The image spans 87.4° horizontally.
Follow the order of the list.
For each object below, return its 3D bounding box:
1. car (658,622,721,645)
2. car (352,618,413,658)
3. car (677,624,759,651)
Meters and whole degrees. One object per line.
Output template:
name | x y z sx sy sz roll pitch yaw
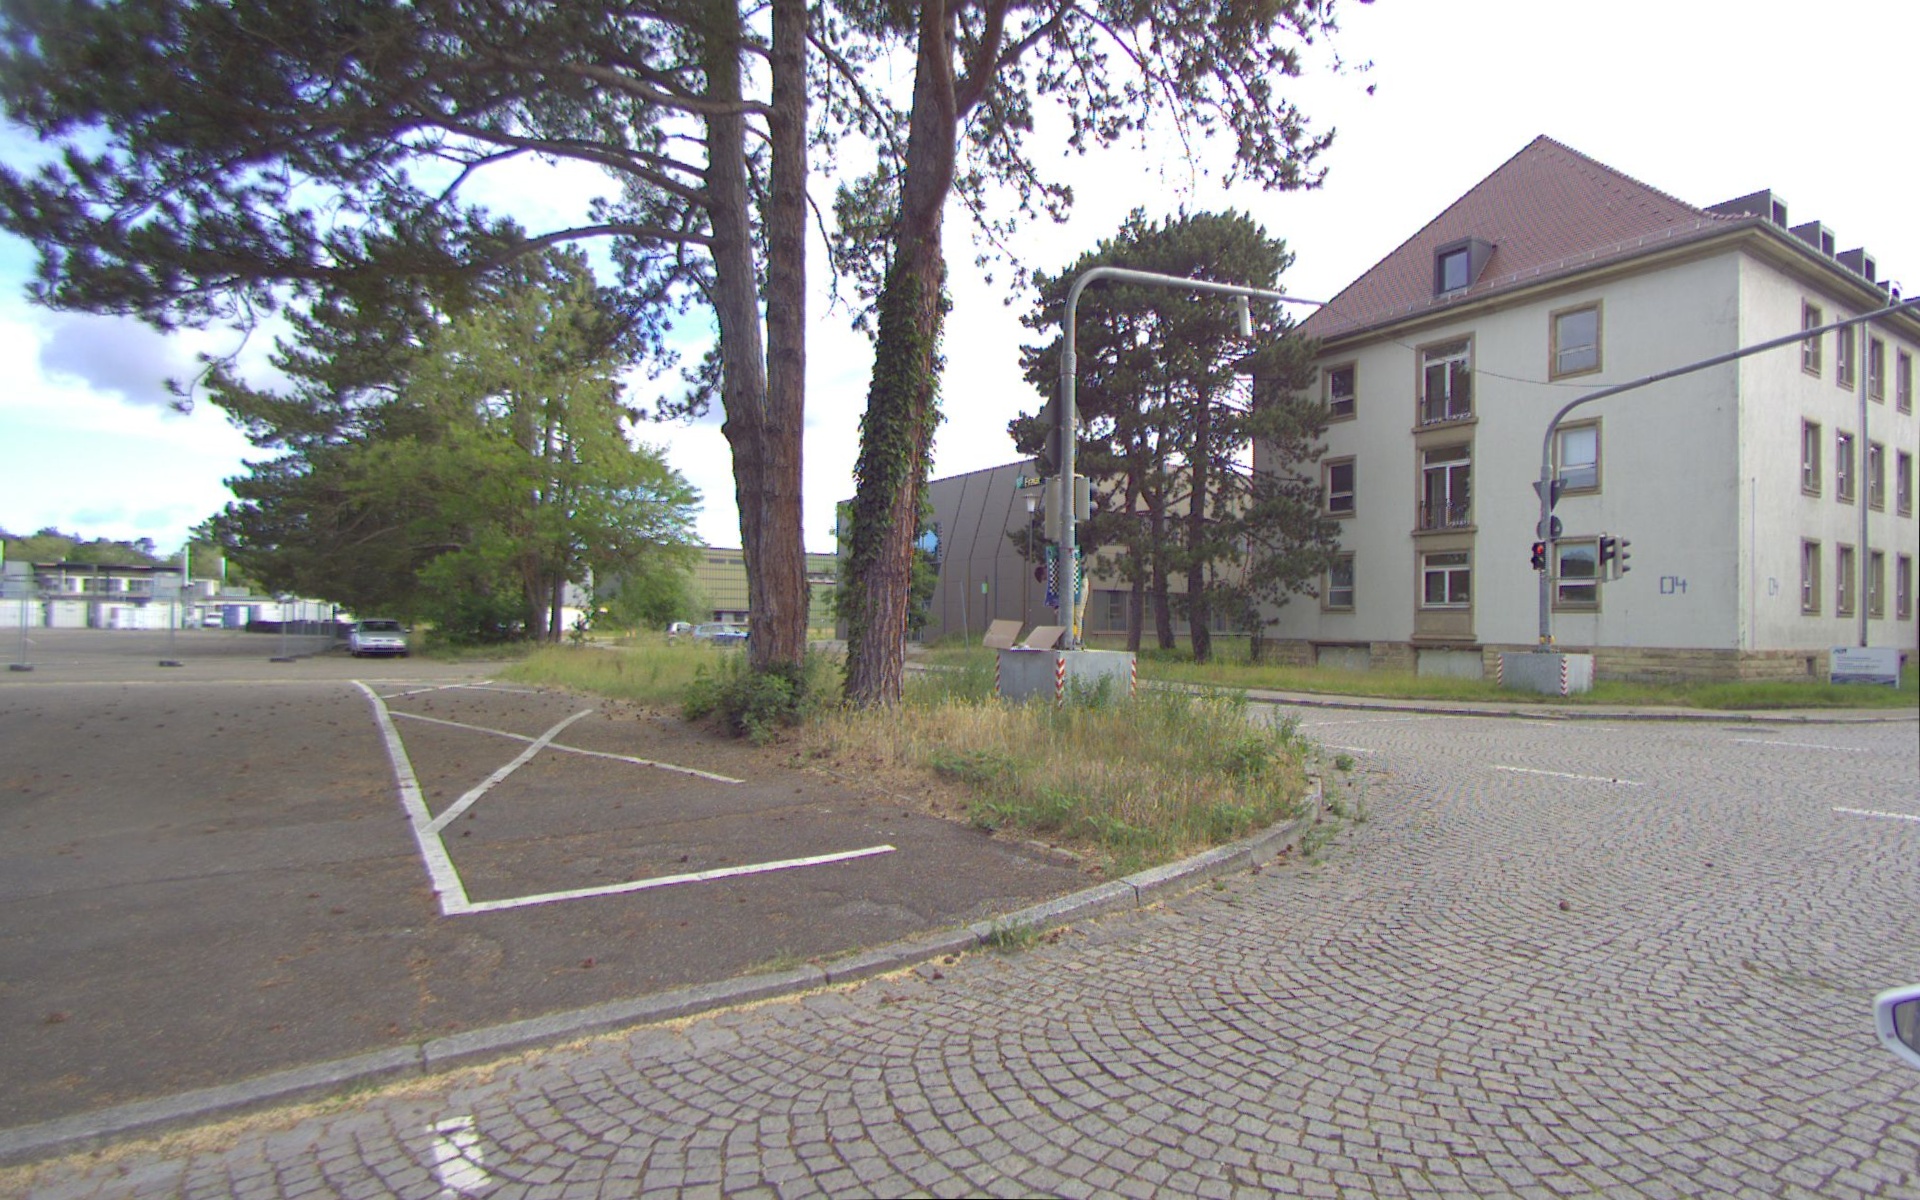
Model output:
car | -17.940 2.194 66.568 3.618 1.449 1.983 0 0 -32
car | -21.673 1.399 37.653 1.680 1.410 3.962 2 -2 -34
car | -14.464 2.207 60.014 4.409 1.449 1.983 0 0 -32
